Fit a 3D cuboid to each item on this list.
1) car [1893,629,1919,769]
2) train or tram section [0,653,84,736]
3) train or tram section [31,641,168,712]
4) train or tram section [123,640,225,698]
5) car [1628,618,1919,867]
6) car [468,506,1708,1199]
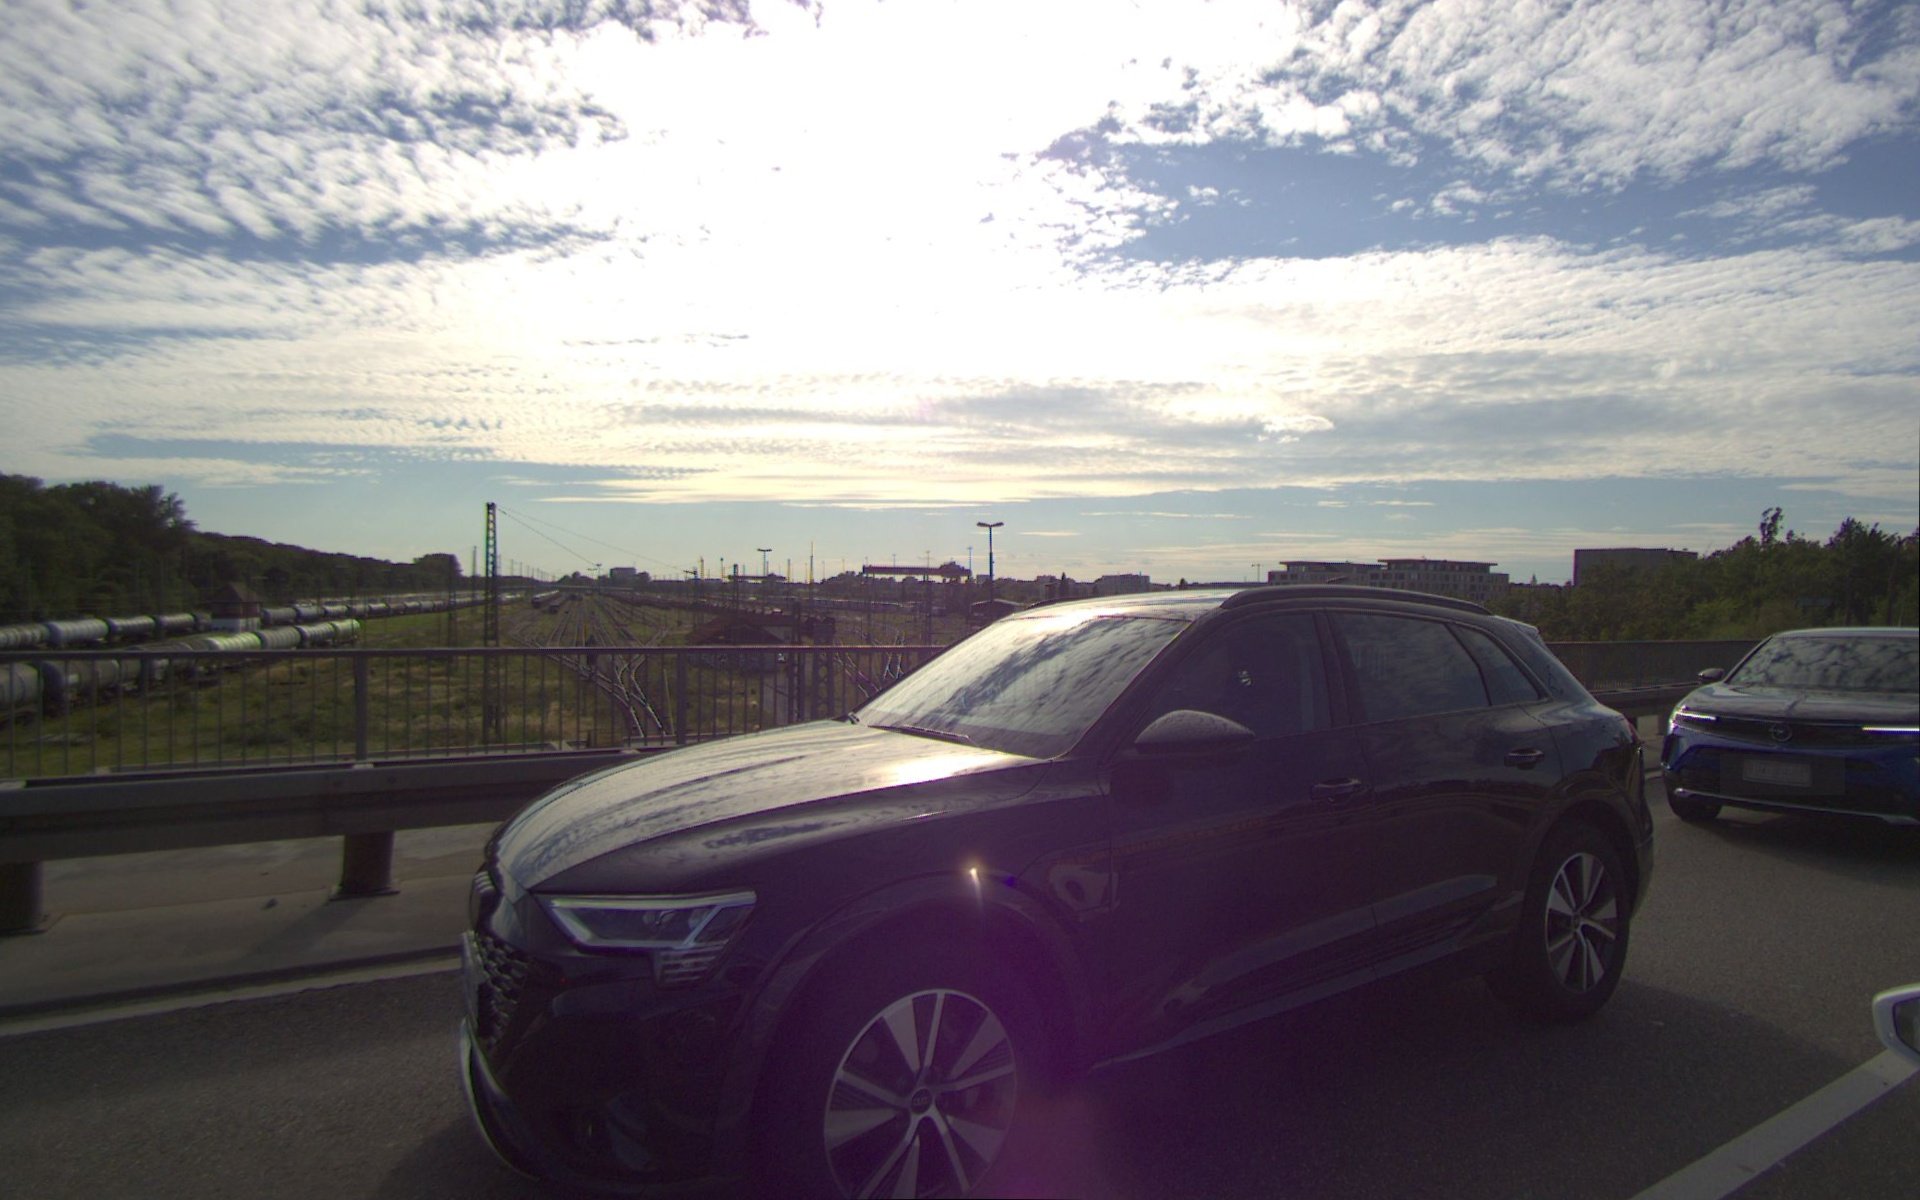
[{"bbox_3d":[12.003,1.074,11.291,3.702,1.484,1.588,1,-2,-37],"label":"car"},{"bbox_3d":[-61.309,5.971,63.893,3.052,4.774,16.661,1,-2,-22],"label":"train or tram section"},{"bbox_3d":[-67.476,5.739,79.440,3.052,4.774,16.661,1,-2,-22],"label":"train or tram section"},{"bbox_3d":[-73.830,6.306,94.856,3.052,4.774,16.661,1,-2,-22],"label":"train or tram section"},{"bbox_3d":[7.157,0.937,7.975,3.968,1.540,1.787,1,-2,-35],"label":"car"},{"bbox_3d":[0.721,0.727,3.855,4.537,1.671,1.916,1,-2,-32],"label":"car"}]
